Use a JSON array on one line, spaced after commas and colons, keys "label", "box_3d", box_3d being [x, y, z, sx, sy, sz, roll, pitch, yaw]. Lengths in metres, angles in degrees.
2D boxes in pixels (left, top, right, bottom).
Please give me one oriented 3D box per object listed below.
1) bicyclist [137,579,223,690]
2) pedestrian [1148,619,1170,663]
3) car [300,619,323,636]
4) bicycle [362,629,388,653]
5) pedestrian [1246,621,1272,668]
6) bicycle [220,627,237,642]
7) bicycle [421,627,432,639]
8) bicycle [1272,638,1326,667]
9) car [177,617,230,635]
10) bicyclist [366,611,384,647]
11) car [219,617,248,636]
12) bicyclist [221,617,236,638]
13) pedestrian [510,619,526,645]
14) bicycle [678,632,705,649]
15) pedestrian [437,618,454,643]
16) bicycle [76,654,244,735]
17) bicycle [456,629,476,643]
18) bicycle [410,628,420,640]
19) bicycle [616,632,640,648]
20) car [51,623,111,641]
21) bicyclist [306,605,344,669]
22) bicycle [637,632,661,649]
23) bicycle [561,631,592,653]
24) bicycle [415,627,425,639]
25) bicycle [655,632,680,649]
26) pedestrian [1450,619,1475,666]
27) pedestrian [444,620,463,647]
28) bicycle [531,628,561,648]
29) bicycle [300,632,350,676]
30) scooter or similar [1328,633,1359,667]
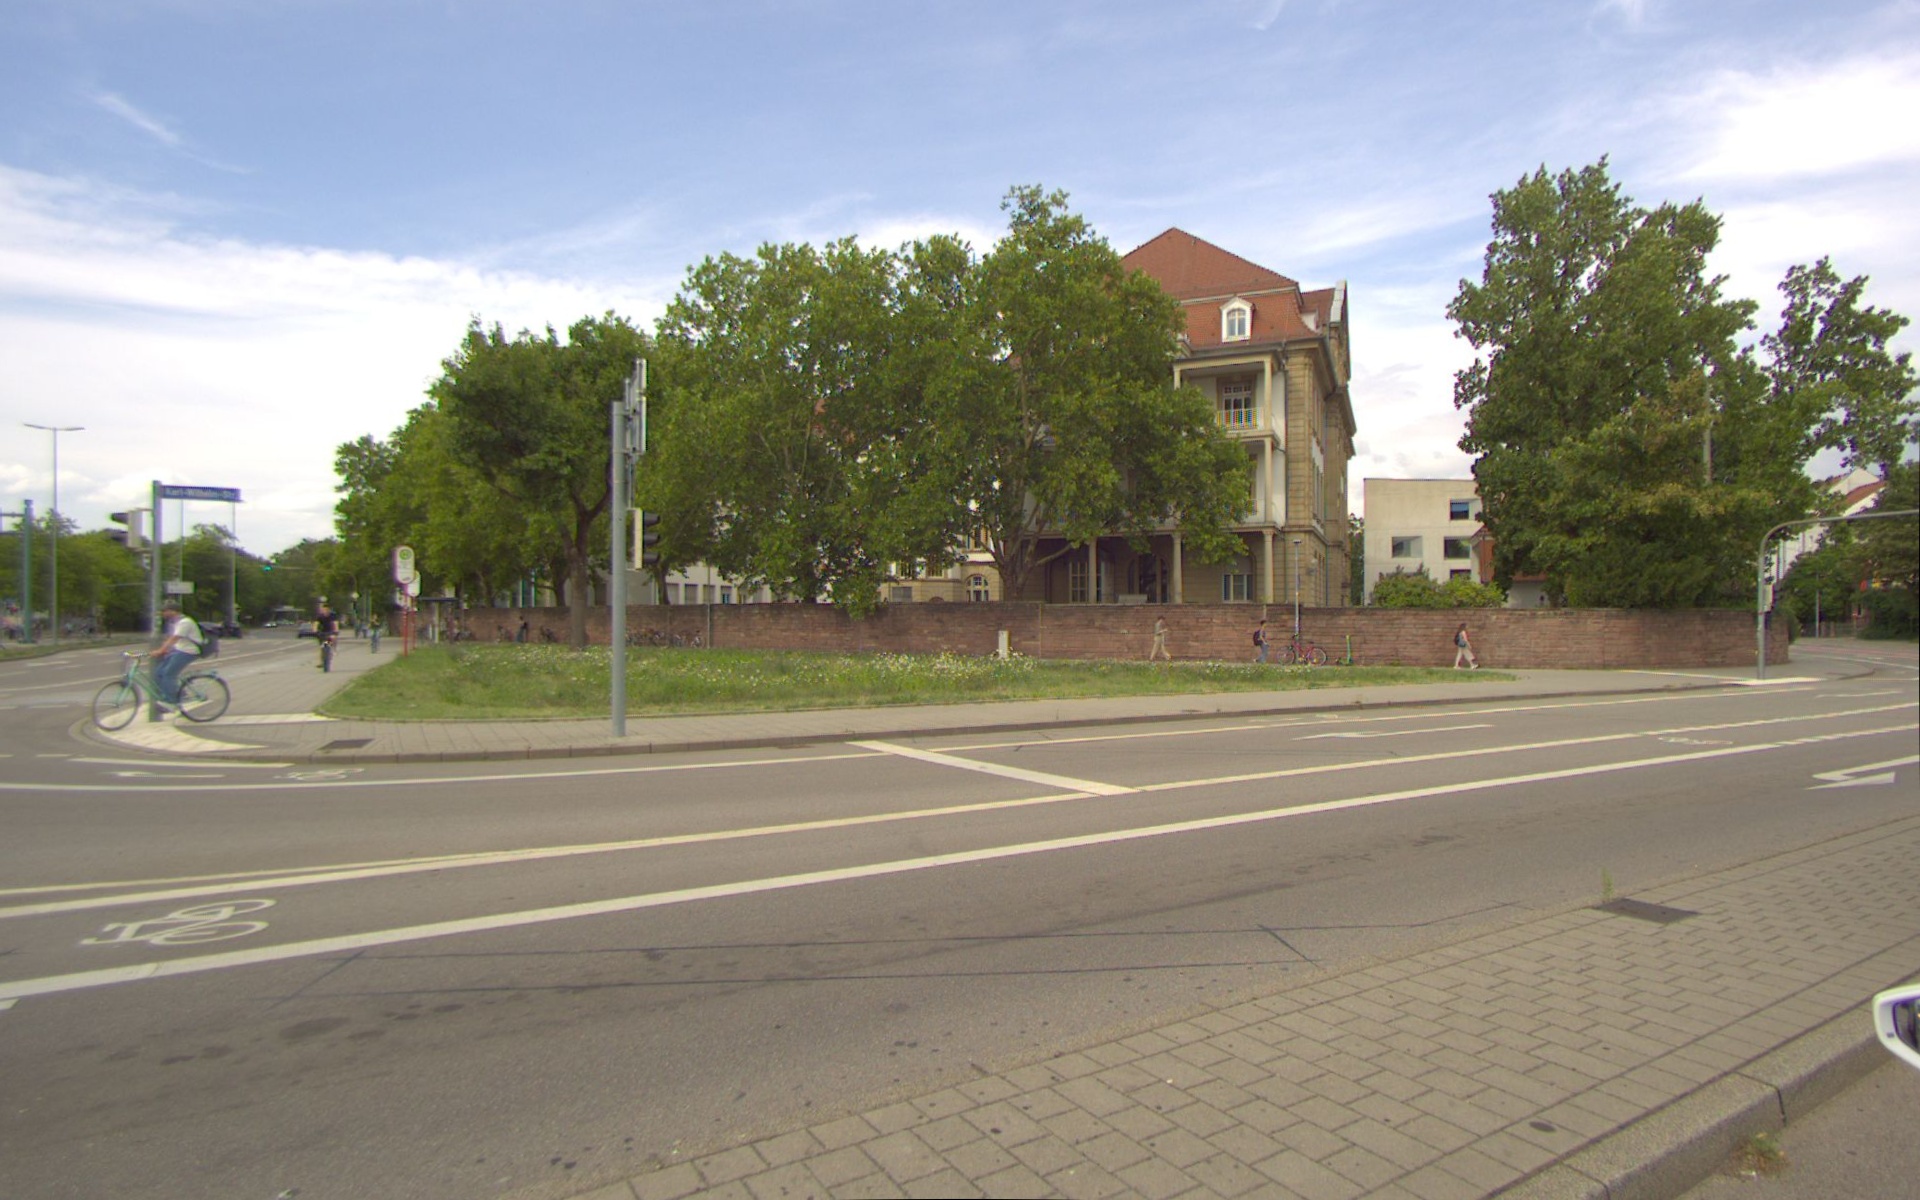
[{"label": "bicyclist", "box_3d": [-11.400, 0.483, 14.701, 0.568, 1.576, 0.798, 1, 1, 15]}, {"label": "pedestrian", "box_3d": [7.664, 1.571, 38.732, 0.766, 1.677, 0.577, -2, 1, 7]}, {"label": "car", "box_3d": [-62.234, 2.600, 96.442, 1.681, 1.500, 4.380, -2, 0, -30]}, {"label": "bicycle", "box_3d": [-26.296, 1.835, 45.154, 0.497, 0.948, 1.965, 0, 1, -14]}, {"label": "pedestrian", "box_3d": [10.944, 1.622, 36.744, 0.766, 1.677, 0.577, -2, 1, 2]}, {"label": "bicycle", "box_3d": [-61.055, 2.913, 83.838, 0.749, 1.204, 2.085, 2, -3, -26]}, {"label": "bicycle", "box_3d": [-41.707, 2.613, 78.522, 0.429, 0.899, 1.558, -4, 1, -39]}, {"label": "bicycle", "box_3d": [12.745, 1.992, 37.833, 1.888, 1.018, 0.779, -2, 0, 17]}, {"label": "car", "box_3d": [-70.977, 2.442, 94.259, 4.046, 1.509, 1.791, 1, -1, 13]}, {"label": "bicyclist", "box_3d": [-26.297, 1.313, 45.161, 0.486, 1.576, 0.795, 0, 1, -14]}, {"label": "car", "box_3d": [-63.962, 2.313, 88.420, 1.775, 1.509, 4.082, 3, -2, -40]}, {"label": "bicyclist", "box_3d": [-61.016, 2.270, 83.835, 0.768, 1.733, 1.079, 2, -3, -26]}, {"label": "pedestrian", "box_3d": [-27.492, 1.988, 62.467, 0.743, 1.643, 0.566, -1, 1, 40]}, {"label": "bicycle", "box_3d": [-13.854, 2.089, 51.892, 1.681, 0.875, 0.357, -1, -3, 36]}, {"label": "pedestrian", "box_3d": [-34.679, 2.051, 67.690, 0.655, 1.643, 0.751, -1, 1, 38]}, {"label": "bicycle", "box_3d": [-11.475, 1.328, 14.504, 0.496, 0.948, 1.972, 1, 1, 15]}, {"label": "bicycle", "box_3d": [-33.968, 2.458, 69.045, 1.554, 0.899, 0.658, -2, 1, 42]}, {"label": "bicycle", "box_3d": [-44.062, 2.765, 81.224, 0.429, 0.899, 1.558, -4, 1, -39]}, {"label": "bicycle", "box_3d": [-18.136, 2.193, 54.857, 1.794, 0.875, 0.357, -1, -3, 39]}, {"label": "car", "box_3d": [-81.855, 2.979, 93.564, 4.048, 1.509, 1.791, 2, -1, 2]}, {"label": "bicyclist", "box_3d": [-16.054, 0.921, 25.392, 0.570, 1.576, 0.795, 0, 1, -14]}, {"label": "bicycle", "box_3d": [-16.672, 2.164, 53.781, 1.783, 0.875, 0.357, -1, -4, 42]}, {"label": "bicycle", "box_3d": [-22.122, 2.410, 57.894, 2.067, 1.204, 0.755, -1, -3, 40]}, {"label": "bicycle", "box_3d": [-42.881, 2.642, 79.772, 0.429, 0.899, 1.558, -4, 1, -39]}, {"label": "bicycle", "box_3d": [-15.304, 2.129, 52.529, 1.864, 0.875, 0.357, -2, -4, 43]}, {"label": "pedestrian", "box_3d": [18.465, 1.550, 36.890, 0.617, 1.677, 0.531, -2, 1, 0]}, {"label": "pedestrian", "box_3d": [-30.767, 2.032, 61.001, 0.655, 1.643, 0.751, -1, 1, 38]}, {"label": "bicycle", "box_3d": [-24.906, 2.278, 60.449, 2.067, 1.204, 0.755, -1, -3, 40]}, {"label": "bicycle", "box_3d": [-16.071, 1.347, 25.464, 0.497, 0.948, 1.965, 0, 1, -14]}, {"label": "scooter or similar", "box_3d": [14.257, 1.859, 37.345, 0.513, 1.154, 1.509, -1, 1, 45]}]
